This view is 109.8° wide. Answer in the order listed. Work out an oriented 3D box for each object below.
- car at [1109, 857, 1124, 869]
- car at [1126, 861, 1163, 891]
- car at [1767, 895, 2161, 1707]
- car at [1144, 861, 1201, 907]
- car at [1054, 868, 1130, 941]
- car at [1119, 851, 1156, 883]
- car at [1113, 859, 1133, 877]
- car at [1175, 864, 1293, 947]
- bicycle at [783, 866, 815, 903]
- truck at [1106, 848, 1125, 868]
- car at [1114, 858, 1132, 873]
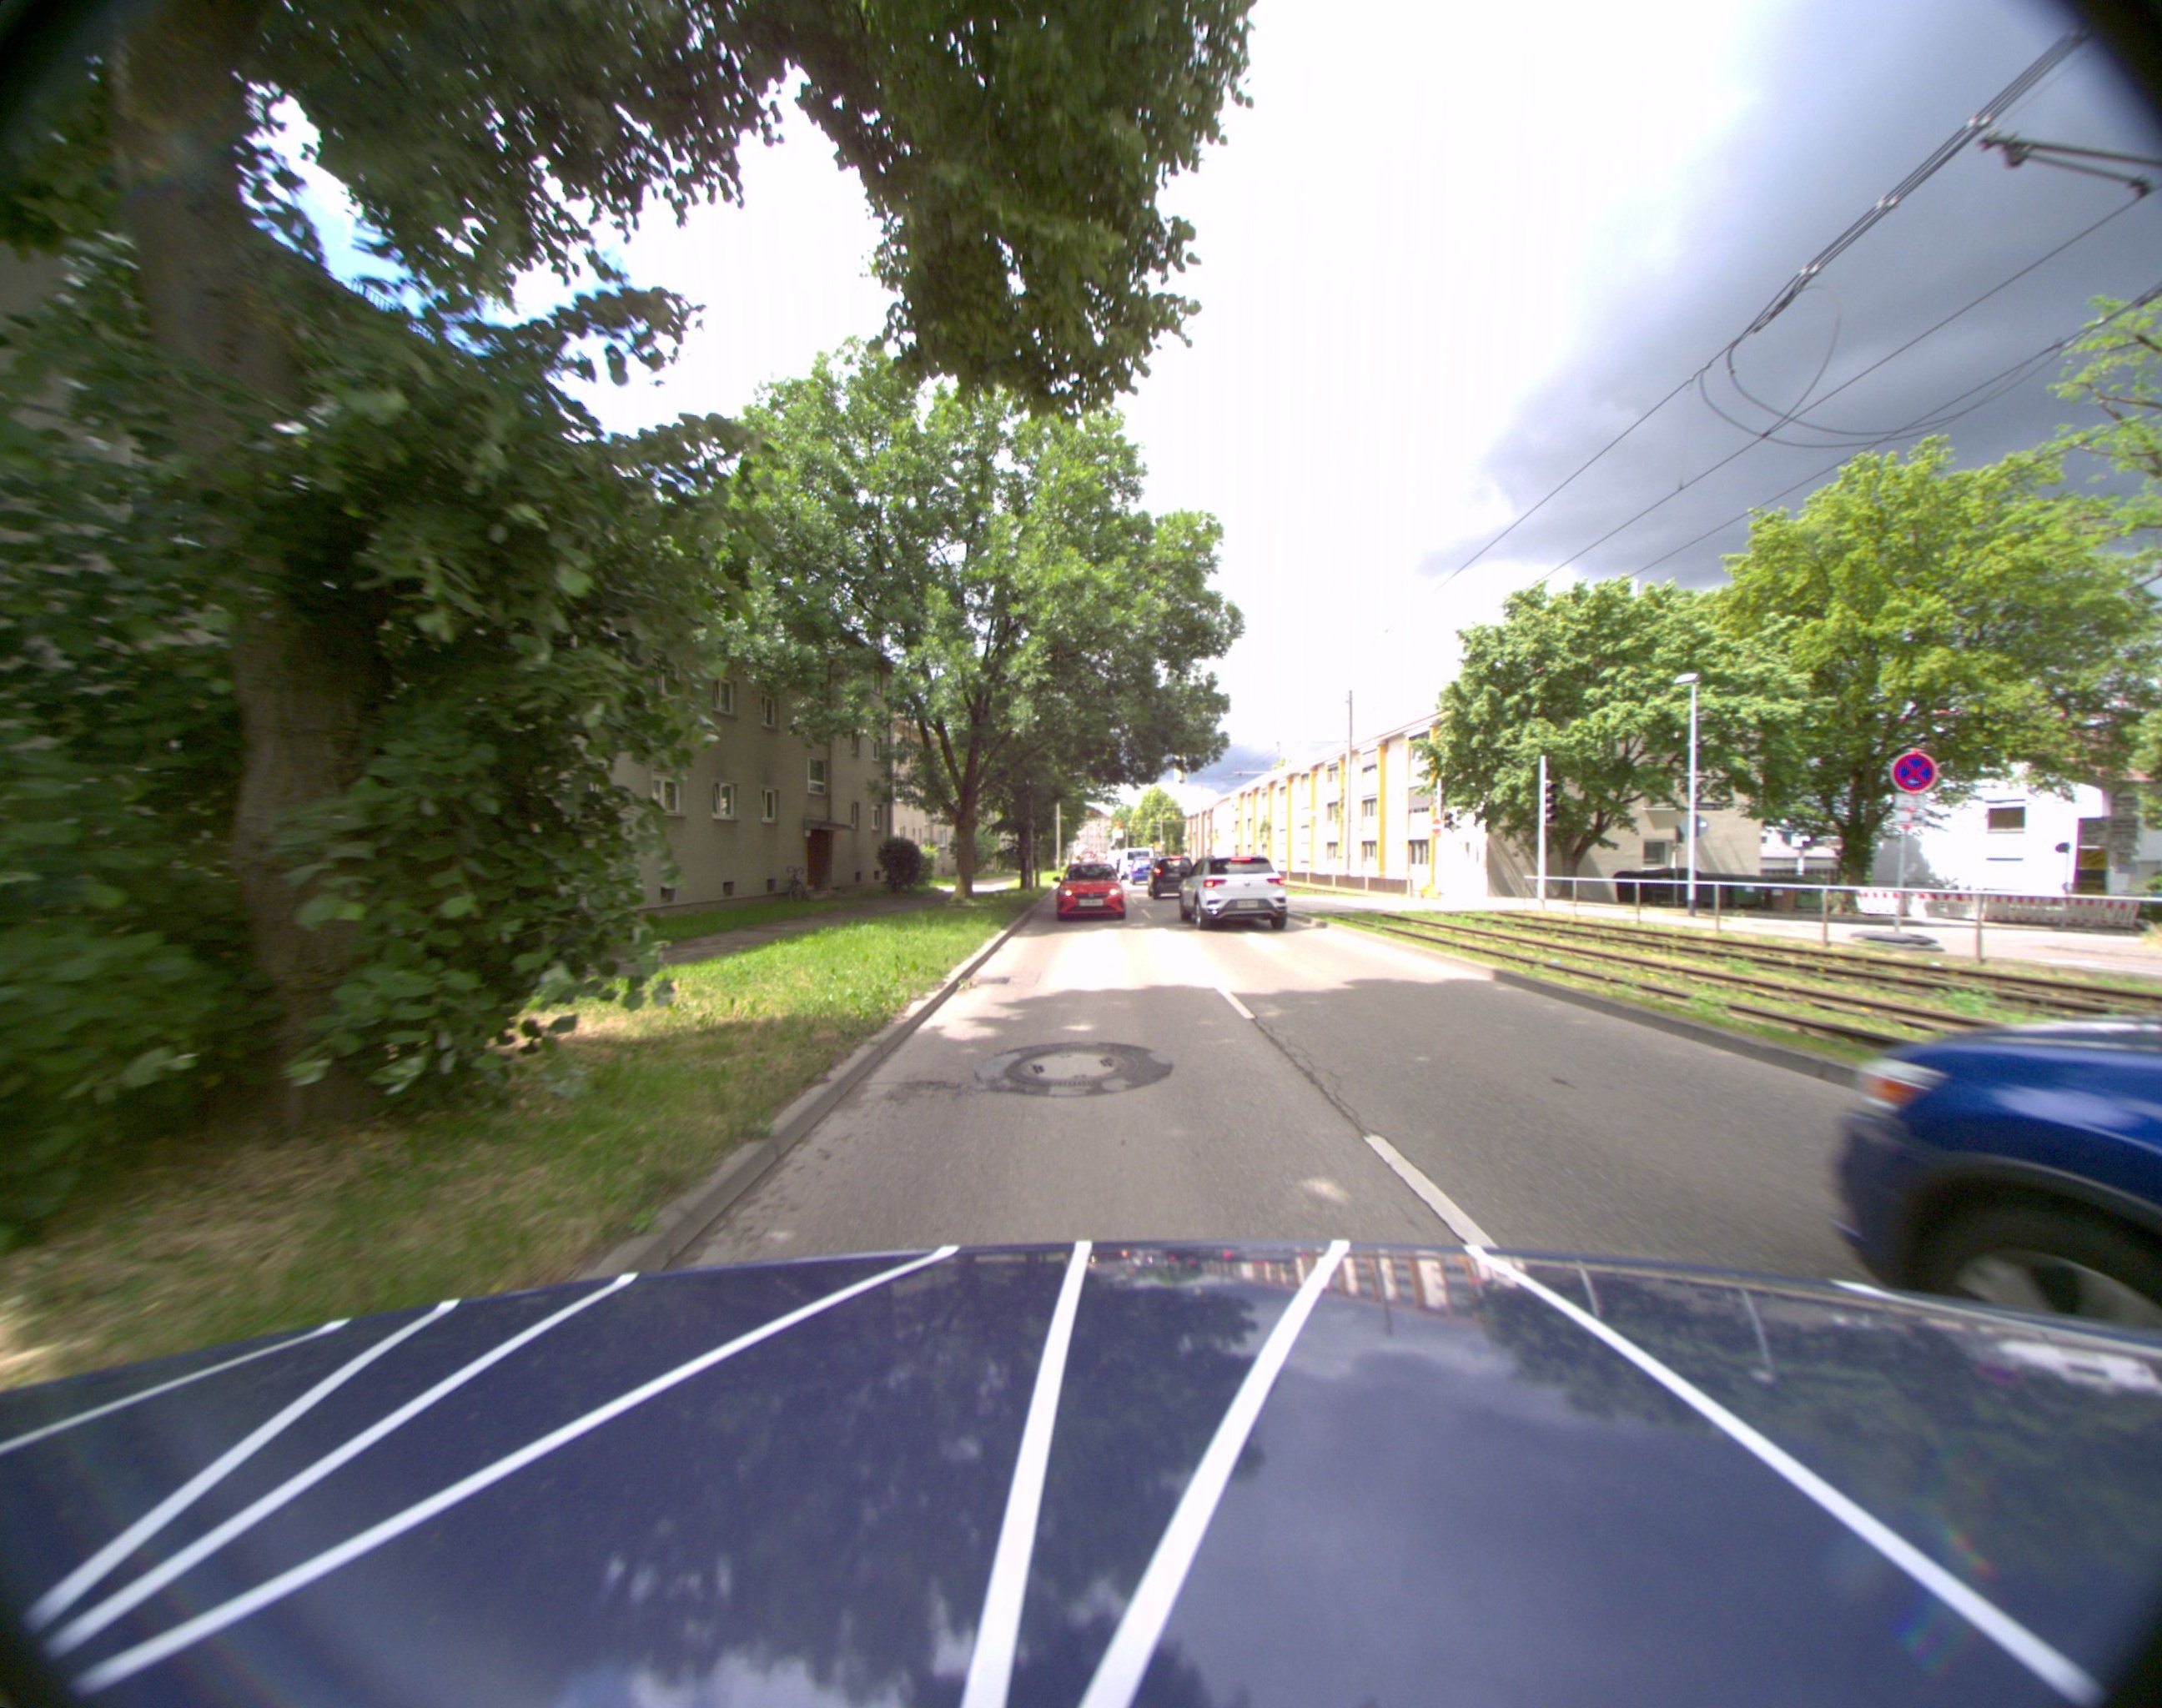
[{"bbox_3d":[4.394,1.103,94.919,1.666,1.512,3.862,-2,0,1],"label":"car"},{"bbox_3d":[3.373,1.131,40.981,1.585,1.477,3.806,-2,0,-1],"label":"car"},{"bbox_3d":[2.895,0.894,0.158,1.717,1.557,4.166,-2,0,0],"label":"car"},{"bbox_3d":[3.304,1.059,28.061,1.641,1.524,3.275,-2,0,0],"label":"car"},{"bbox_3d":[0.272,1.168,18.962,1.666,1.512,3.786,-1,0,1],"label":"car"},{"bbox_3d":[3.673,0.836,49.973,1.999,1.984,4.786,-1,0,0],"label":"car"},{"bbox_3d":[3.921,1.285,71.466,1.666,1.512,3.679,-2,0,1],"label":"car"},{"bbox_3d":[3.186,1.012,16.588,1.721,1.535,4.000,-2,-1,0],"label":"car"},{"bbox_3d":[-8.506,0.896,22.893,0.437,1.074,1.749,-3,1,-34],"label":"bicycle"},{"bbox_3d":[4.767,0.547,106.227,2.096,2.723,5.096,-2,1,-2],"label":"truck"},{"bbox_3d":[4.513,1.180,81.878,1.666,1.512,3.786,-2,0,1],"label":"car"}]
